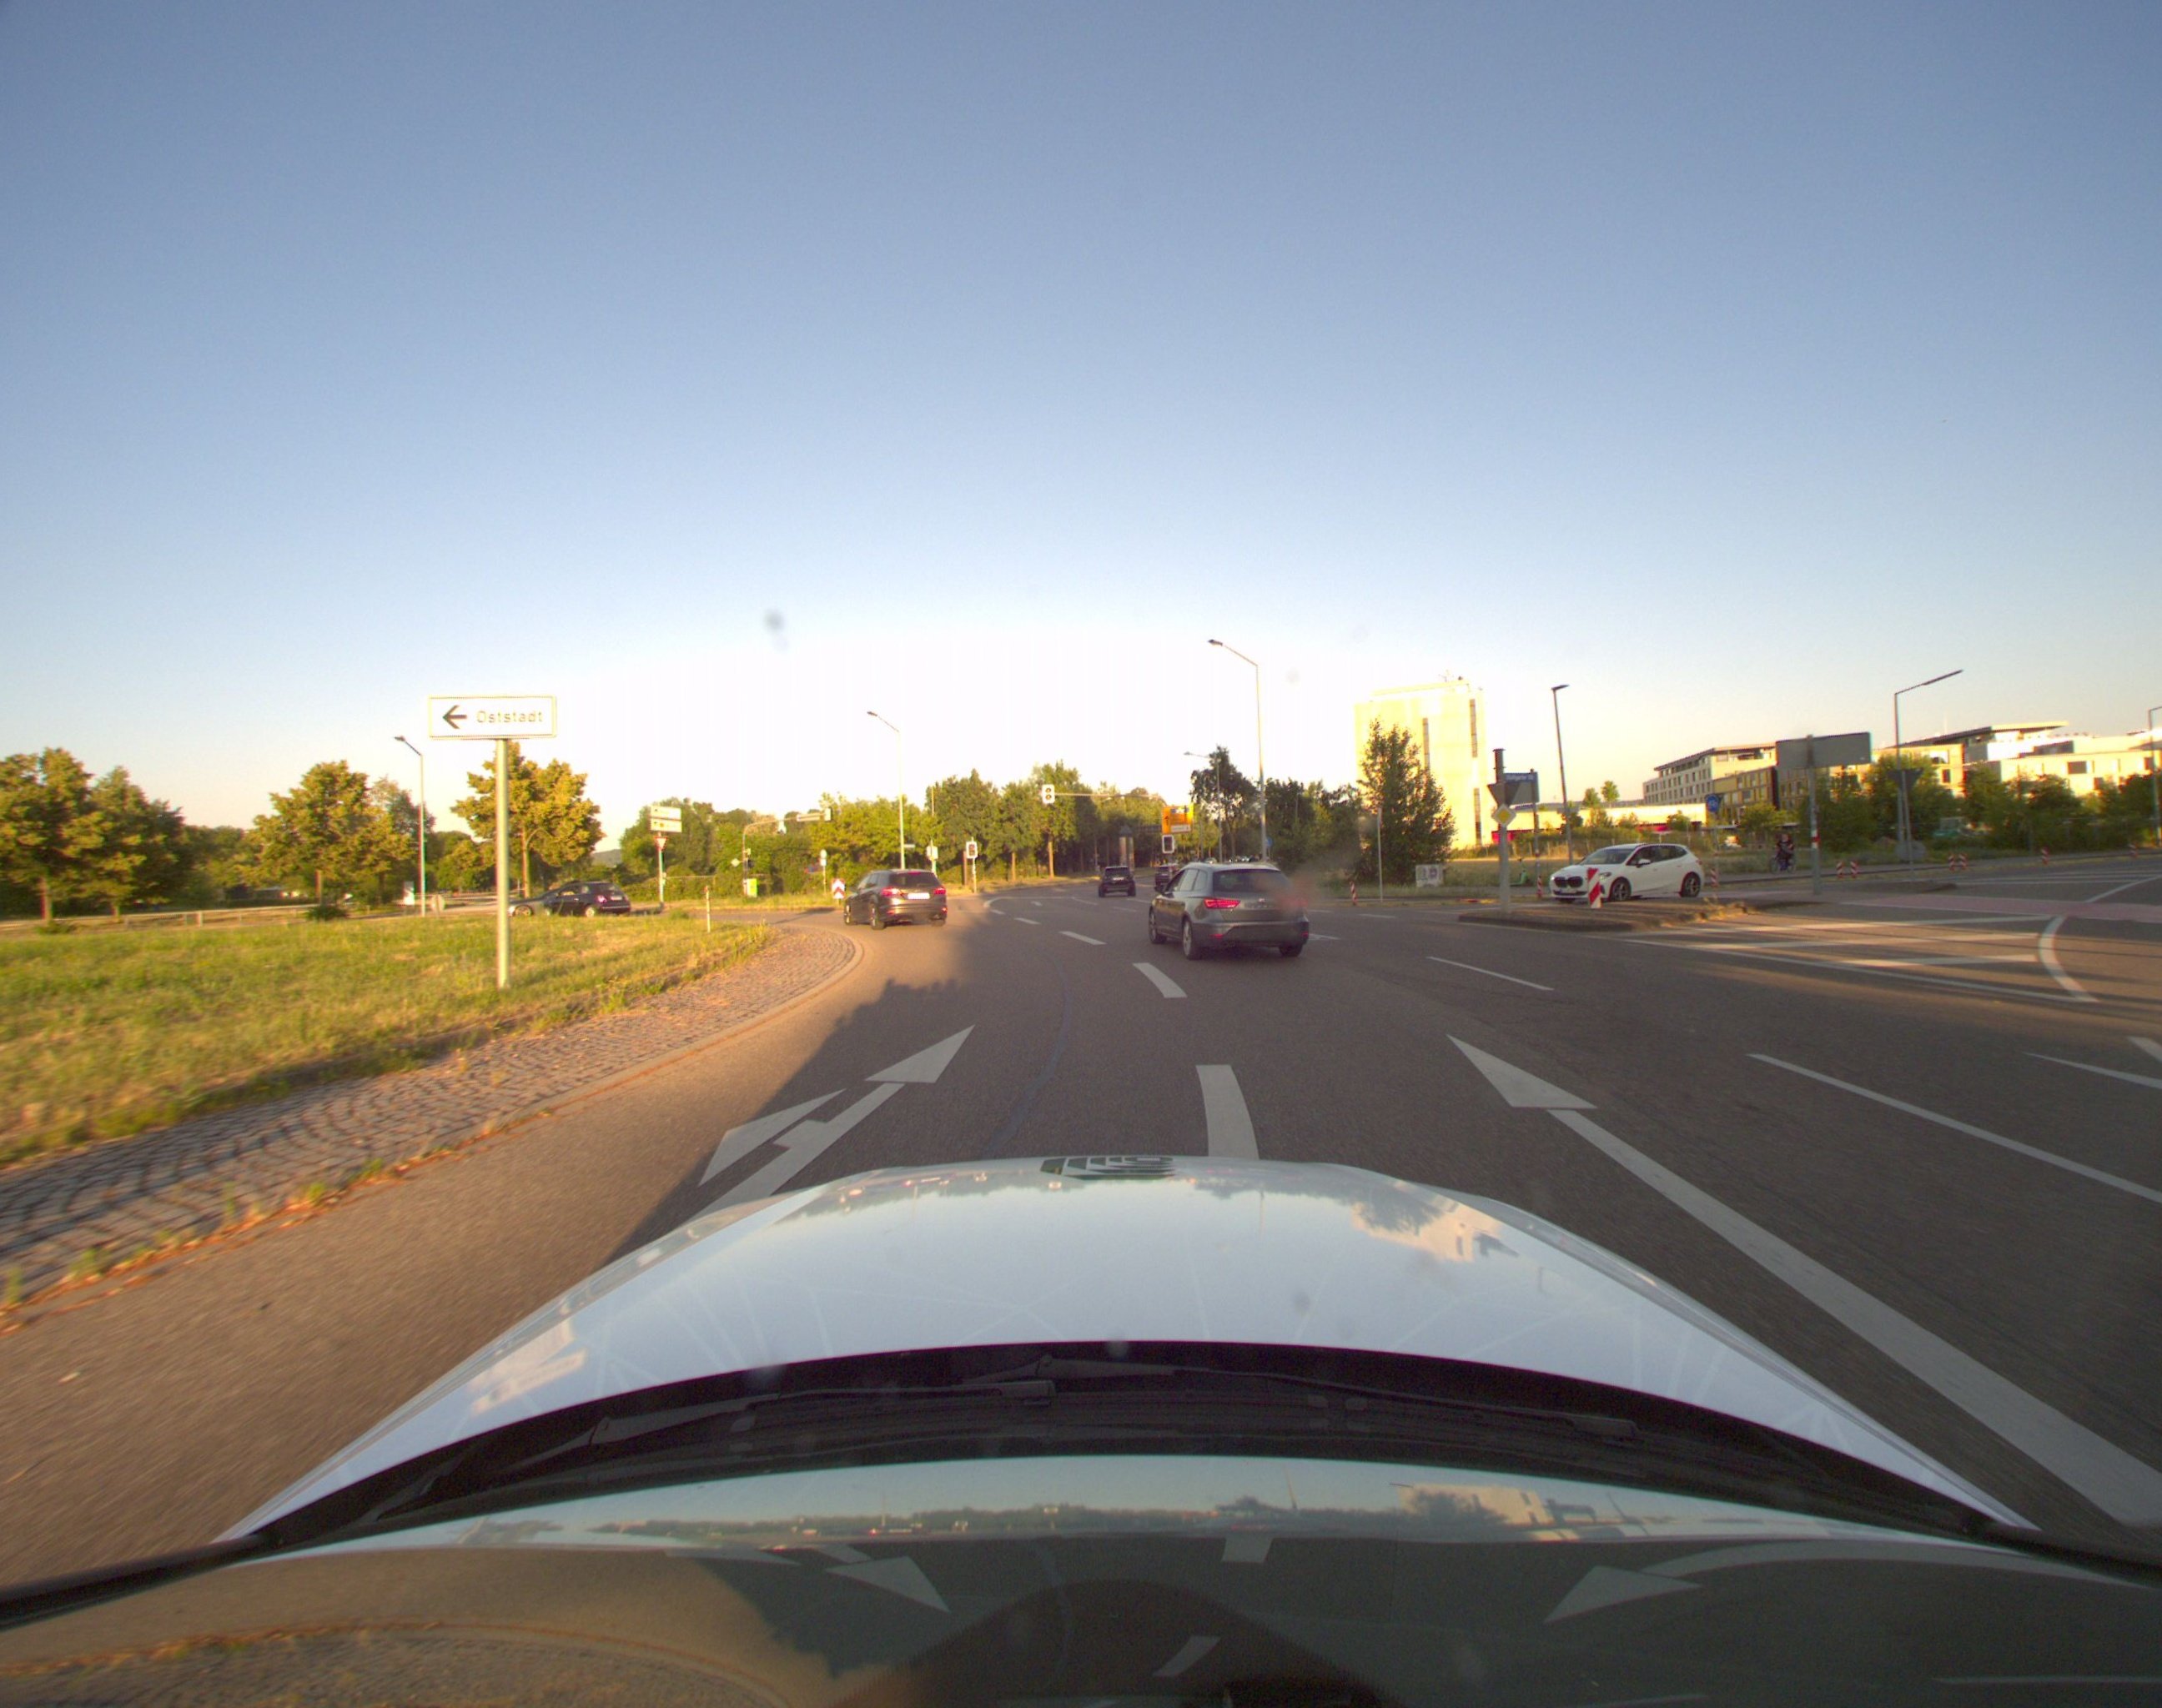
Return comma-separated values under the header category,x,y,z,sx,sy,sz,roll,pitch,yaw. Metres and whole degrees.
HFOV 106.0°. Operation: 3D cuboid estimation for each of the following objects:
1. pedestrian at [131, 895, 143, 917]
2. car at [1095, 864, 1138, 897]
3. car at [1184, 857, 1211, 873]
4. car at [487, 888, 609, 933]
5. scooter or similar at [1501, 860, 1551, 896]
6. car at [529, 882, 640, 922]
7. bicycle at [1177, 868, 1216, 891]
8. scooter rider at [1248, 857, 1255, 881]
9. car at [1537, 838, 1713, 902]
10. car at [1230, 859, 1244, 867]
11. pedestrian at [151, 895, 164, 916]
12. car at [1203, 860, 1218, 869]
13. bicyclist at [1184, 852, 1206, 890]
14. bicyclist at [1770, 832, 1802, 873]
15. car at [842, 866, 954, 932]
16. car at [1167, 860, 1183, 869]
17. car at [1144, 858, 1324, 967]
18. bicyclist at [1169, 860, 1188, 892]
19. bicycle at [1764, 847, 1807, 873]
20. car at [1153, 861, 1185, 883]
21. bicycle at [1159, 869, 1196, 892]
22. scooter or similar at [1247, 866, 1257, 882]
category,x,y,z,sx,sy,sz,roll,pitch,yaw
pedestrian,-72.627,4.002,62.677,0.526,1.627,0.584,-3,-1,40
car,1.776,1.332,41.843,1.808,1.525,4.130,-2,0,-3
car,12.030,1.126,83.982,1.977,1.471,4.020,-2,0,20
car,-24.737,2.556,37.868,4.619,1.747,1.731,-2,0,-38
scooter or similar,14.664,0.784,26.835,0.444,1.163,1.369,-1,-1,-33
car,-19.915,1.909,32.645,4.083,1.446,1.762,-2,0,25
bicycle,6.054,1.354,42.587,1.906,1.085,0.459,-4,-1,19
scooter rider,9.883,0.875,47.185,0.264,1.339,0.405,-2,-1,-7
car,15.001,0.441,22.487,4.093,1.558,1.879,-2,-2,-18
car,31.085,1.772,162.332,1.782,1.633,4.479,-3,-2,22
pedestrian,-72.278,4.042,63.715,0.523,1.627,0.624,-3,-1,40
car,22.700,1.911,142.446,1.707,1.449,4.572,-2,0,20
bicyclist,5.952,0.896,42.645,0.899,1.897,0.644,-4,-1,19
bicyclist,30.282,-0.069,34.981,0.538,1.744,0.836,-1,-1,-28
car,-4.853,1.087,21.171,1.756,1.466,4.096,-2,0,-28
car,15.399,1.768,133.893,1.535,1.443,3.506,-4,-2,24
car,2.268,0.809,13.216,1.743,1.424,4.126,-2,0,-6
bicyclist,5.406,1.235,45.165,0.761,1.702,0.644,-5,-2,19
bicycle,30.305,0.271,35.048,0.281,1.089,1.360,-1,-1,-27
car,6.734,1.336,61.798,1.733,1.488,4.152,-2,0,15
bicycle,5.360,1.473,45.138,1.906,1.085,0.459,-5,-2,19
scooter or similar,9.915,1.139,47.252,0.246,0.914,1.036,-2,0,-7
